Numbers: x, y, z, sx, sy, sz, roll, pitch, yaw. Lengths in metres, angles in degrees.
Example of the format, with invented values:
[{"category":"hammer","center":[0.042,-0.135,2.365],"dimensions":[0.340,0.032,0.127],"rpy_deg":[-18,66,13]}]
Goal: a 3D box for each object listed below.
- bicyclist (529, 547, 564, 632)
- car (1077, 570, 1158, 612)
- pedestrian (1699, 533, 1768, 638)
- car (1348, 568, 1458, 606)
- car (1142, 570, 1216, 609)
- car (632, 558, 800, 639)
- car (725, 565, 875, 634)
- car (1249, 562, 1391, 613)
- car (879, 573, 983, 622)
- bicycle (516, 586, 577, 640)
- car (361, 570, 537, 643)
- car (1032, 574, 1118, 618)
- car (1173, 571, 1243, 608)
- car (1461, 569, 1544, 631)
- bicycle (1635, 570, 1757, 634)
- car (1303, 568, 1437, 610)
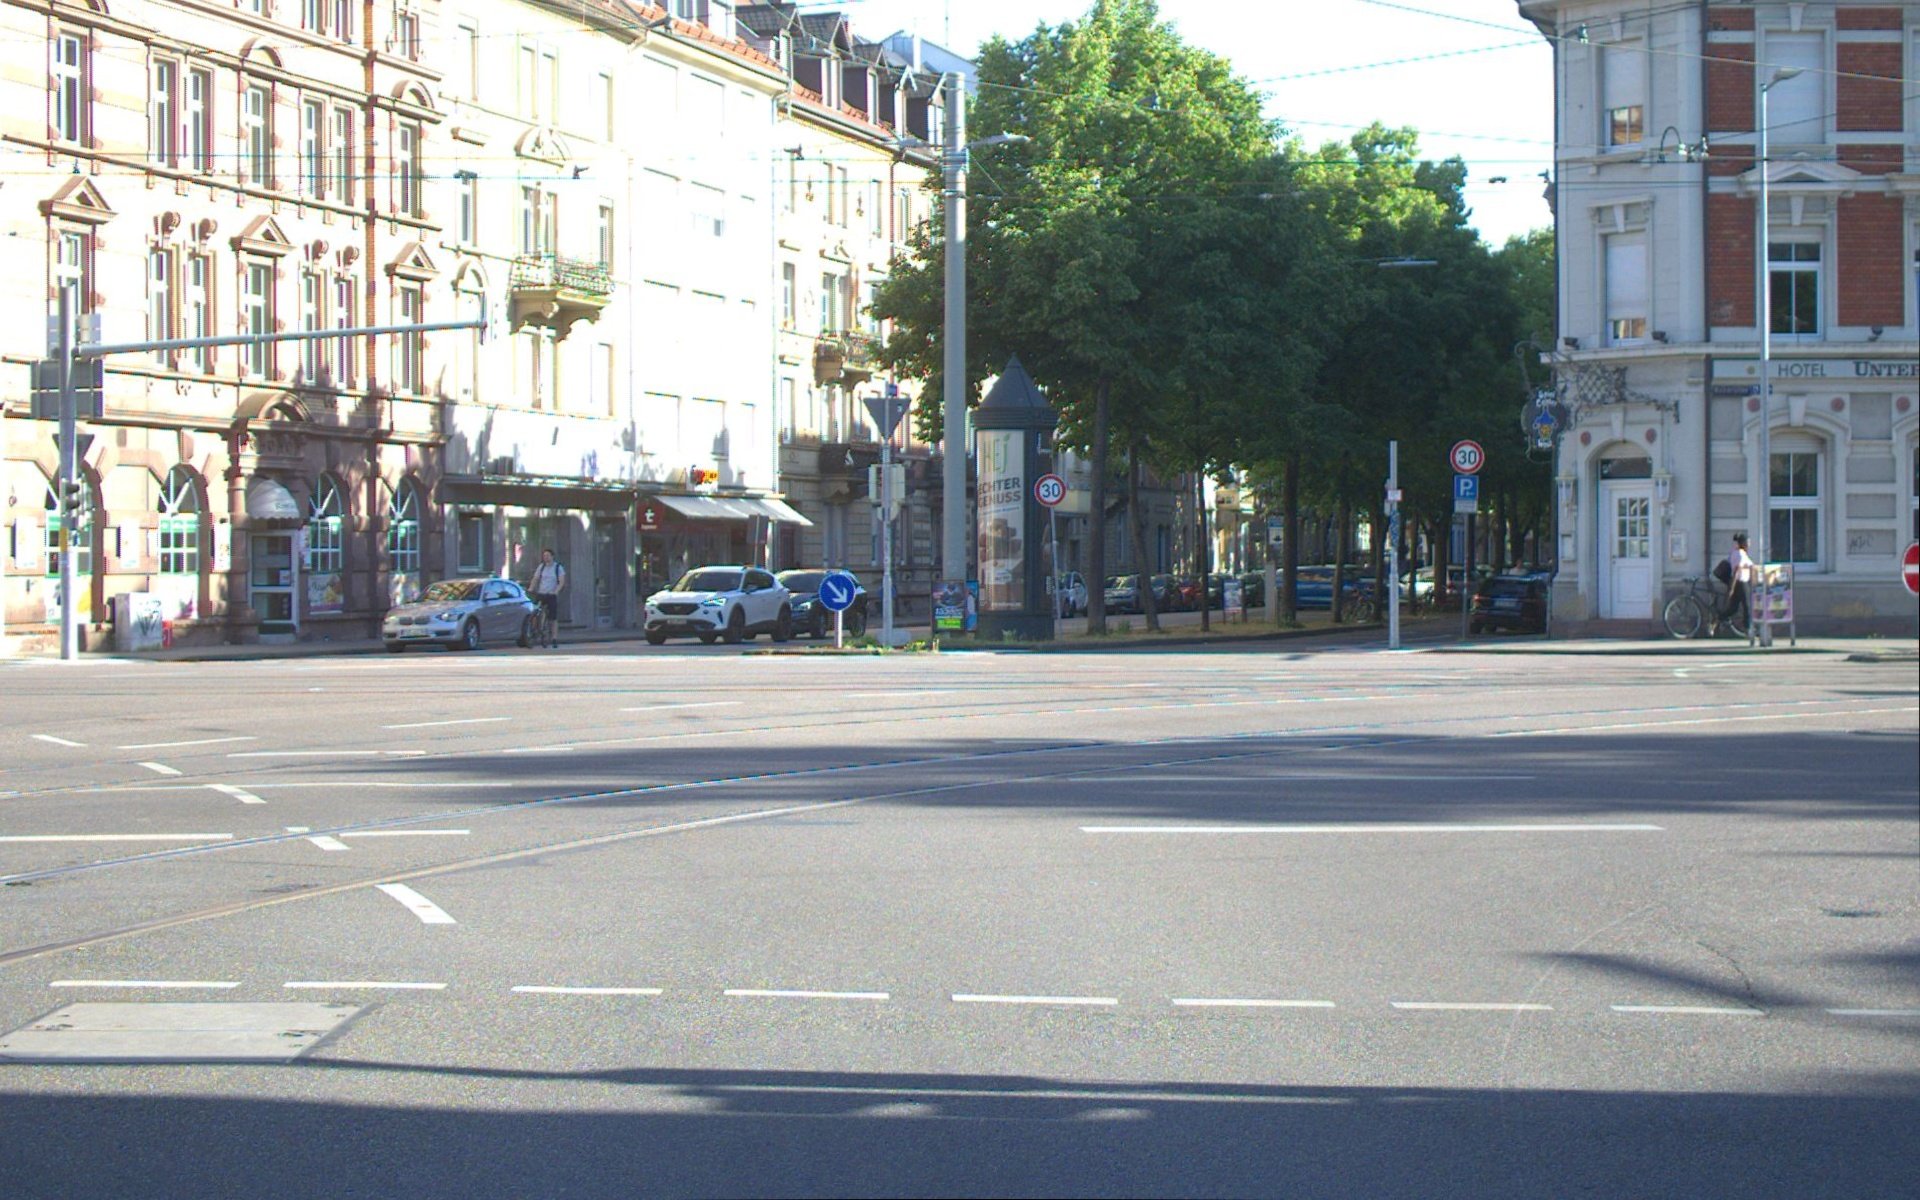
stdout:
[{"category":"bicyclist","center":[-7.839,-0.199,65.194],"dimensions":[0.489,1.596,0.666],"rpy_deg":[0,1,10]},{"category":"car","center":[5.650,-0.335,122.580],"dimensions":[1.995,1.400,4.166],"rpy_deg":[0,1,16]},{"category":"pedestrian","center":[12.681,-0.239,56.377],"dimensions":[1.036,1.706,0.629],"rpy_deg":[1,0,9]},{"category":"car","center":[14.362,-0.424,111.467],"dimensions":[3.435,1.235,1.576],"rpy_deg":[0,1,11]},{"category":"car","center":[8.403,-0.412,131.408],"dimensions":[1.995,1.400,4.166],"rpy_deg":[0,1,16]},{"category":"car","center":[-4.751,-0.050,67.471],"dimensions":[1.995,1.511,4.166],"rpy_deg":[0,1,16]},{"category":"car","center":[-3.398,-0.037,73.645],"dimensions":[1.995,1.400,4.166],"rpy_deg":[0,1,16]},{"category":"car","center":[10.447,-0.357,99.686],"dimensions":[3.989,1.450,1.681],"rpy_deg":[0,1,11]},{"category":"car","center":[-0.844,-0.088,102.091],"dimensions":[1.995,1.400,4.166],"rpy_deg":[0,1,16]},{"category":"bicycle","center":[-7.847,0.235,65.301],"dimensions":[0.655,0.997,1.664],"rpy_deg":[1,1,12]},{"category":"car","center":[-9.927,0.105,67.044],"dimensions":[1.995,1.357,3.816],"rpy_deg":[0,1,16]},{"category":"car","center":[3.938,-0.146,116.861],"dimensions":[1.995,1.400,4.166],"rpy_deg":[0,1,16]},{"category":"car","center":[9.880,-0.444,136.605],"dimensions":[1.995,1.400,4.166],"rpy_deg":[0,1,16]},{"category":"car","center":[13.048,-0.021,82.530],"dimensions":[1.756,1.415,3.998],"rpy_deg":[0,1,12]},{"category":"bicycle","center":[12.271,0.029,57.343],"dimensions":[1.953,1.050,0.715],"rpy_deg":[0,1,10]},{"category":"car","center":[12.576,-0.343,105.394],"dimensions":[3.989,1.284,1.694],"rpy_deg":[0,1,11]}]
